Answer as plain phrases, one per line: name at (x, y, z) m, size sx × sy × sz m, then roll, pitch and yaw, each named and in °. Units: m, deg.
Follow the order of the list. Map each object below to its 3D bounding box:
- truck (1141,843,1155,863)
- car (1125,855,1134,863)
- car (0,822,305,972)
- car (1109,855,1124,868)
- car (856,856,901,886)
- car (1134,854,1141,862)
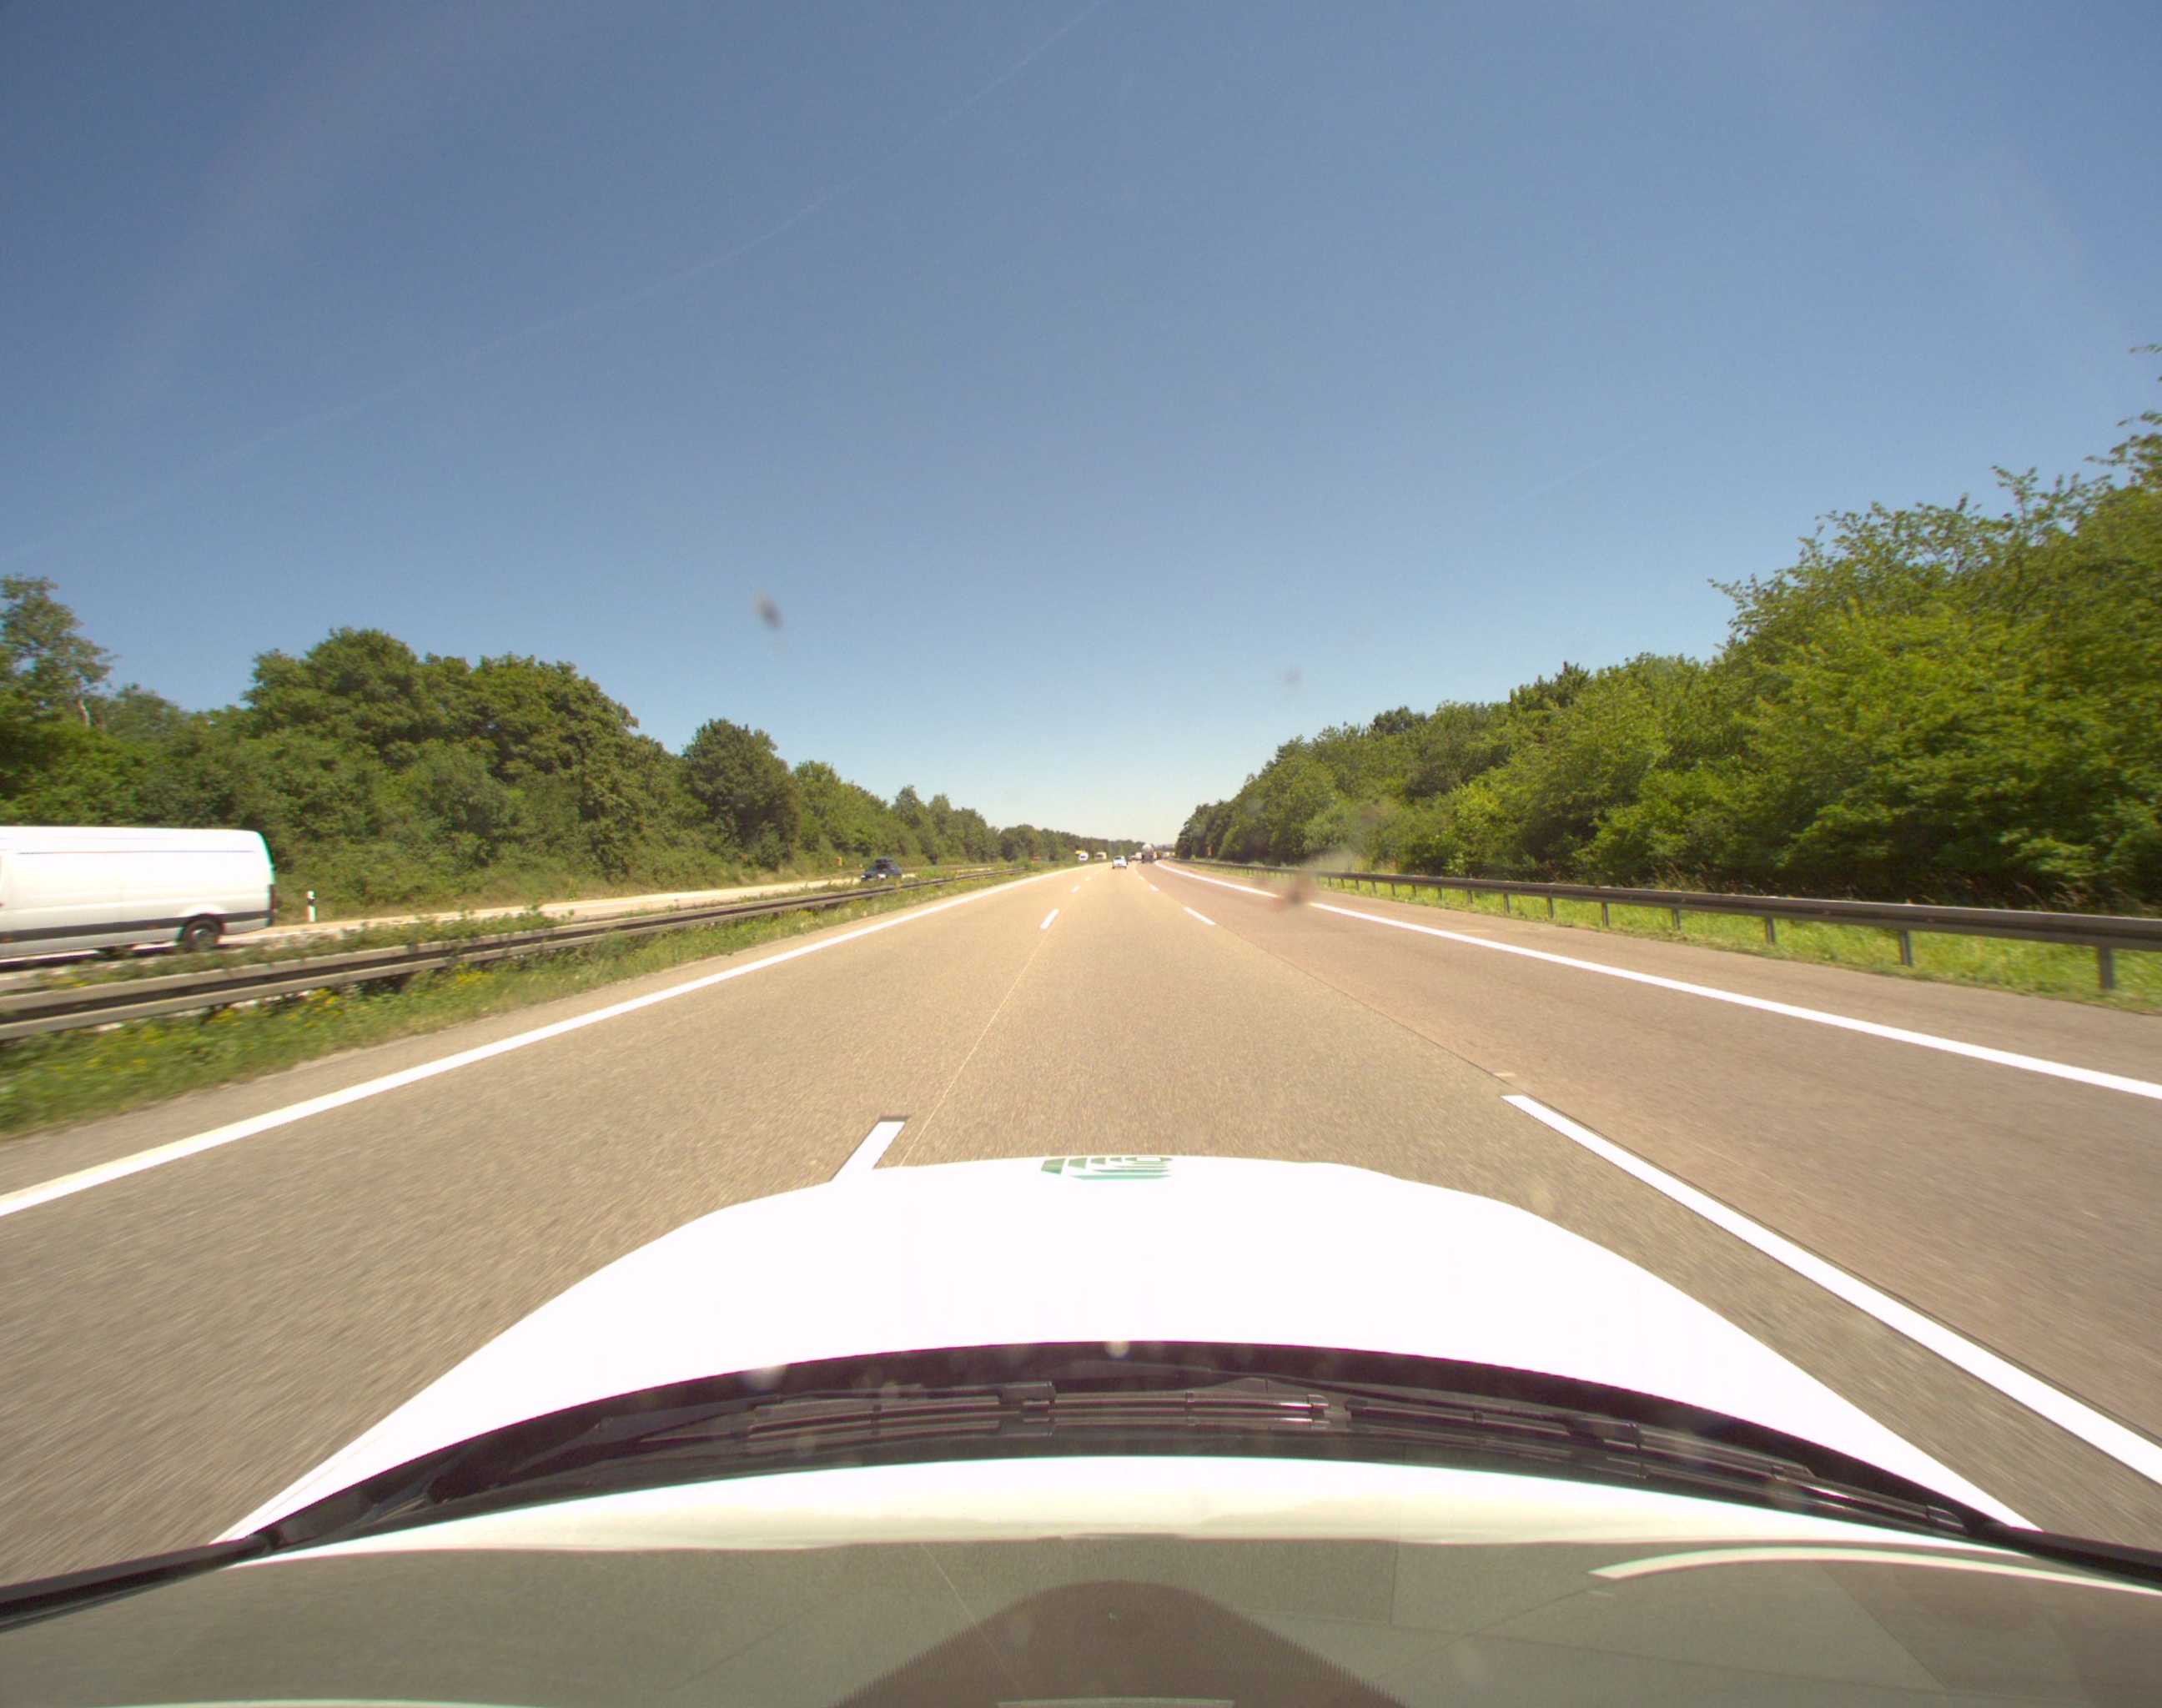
truck at (14.374, -0.195, 174.023) m, size 2.726 × 4.052 × 10.470 m, roll -2°, pitch -1°, yaw 5°
car at (11.929, 1.256, 201.592) m, size 1.984 × 2.013 × 4.006 m, roll -3°, pitch 0°, yaw 5°
car at (-19.564, 0.787, 15.537) m, size 2.220 × 2.576 × 7.394 m, roll -2°, pitch 0°, yaw 1°
car at (4.296, 0.876, 98.785) m, size 1.621 × 1.479 × 4.001 m, roll -2°, pitch -1°, yaw 2°
car at (-14.123, 1.148, 57.040) m, size 1.820 × 1.906 × 4.957 m, roll -2°, pitch 0°, yaw 1°
car at (17.161, 1.063, 246.905) m, size 1.984 × 2.343 × 4.393 m, roll -2°, pitch 0°, yaw 5°
